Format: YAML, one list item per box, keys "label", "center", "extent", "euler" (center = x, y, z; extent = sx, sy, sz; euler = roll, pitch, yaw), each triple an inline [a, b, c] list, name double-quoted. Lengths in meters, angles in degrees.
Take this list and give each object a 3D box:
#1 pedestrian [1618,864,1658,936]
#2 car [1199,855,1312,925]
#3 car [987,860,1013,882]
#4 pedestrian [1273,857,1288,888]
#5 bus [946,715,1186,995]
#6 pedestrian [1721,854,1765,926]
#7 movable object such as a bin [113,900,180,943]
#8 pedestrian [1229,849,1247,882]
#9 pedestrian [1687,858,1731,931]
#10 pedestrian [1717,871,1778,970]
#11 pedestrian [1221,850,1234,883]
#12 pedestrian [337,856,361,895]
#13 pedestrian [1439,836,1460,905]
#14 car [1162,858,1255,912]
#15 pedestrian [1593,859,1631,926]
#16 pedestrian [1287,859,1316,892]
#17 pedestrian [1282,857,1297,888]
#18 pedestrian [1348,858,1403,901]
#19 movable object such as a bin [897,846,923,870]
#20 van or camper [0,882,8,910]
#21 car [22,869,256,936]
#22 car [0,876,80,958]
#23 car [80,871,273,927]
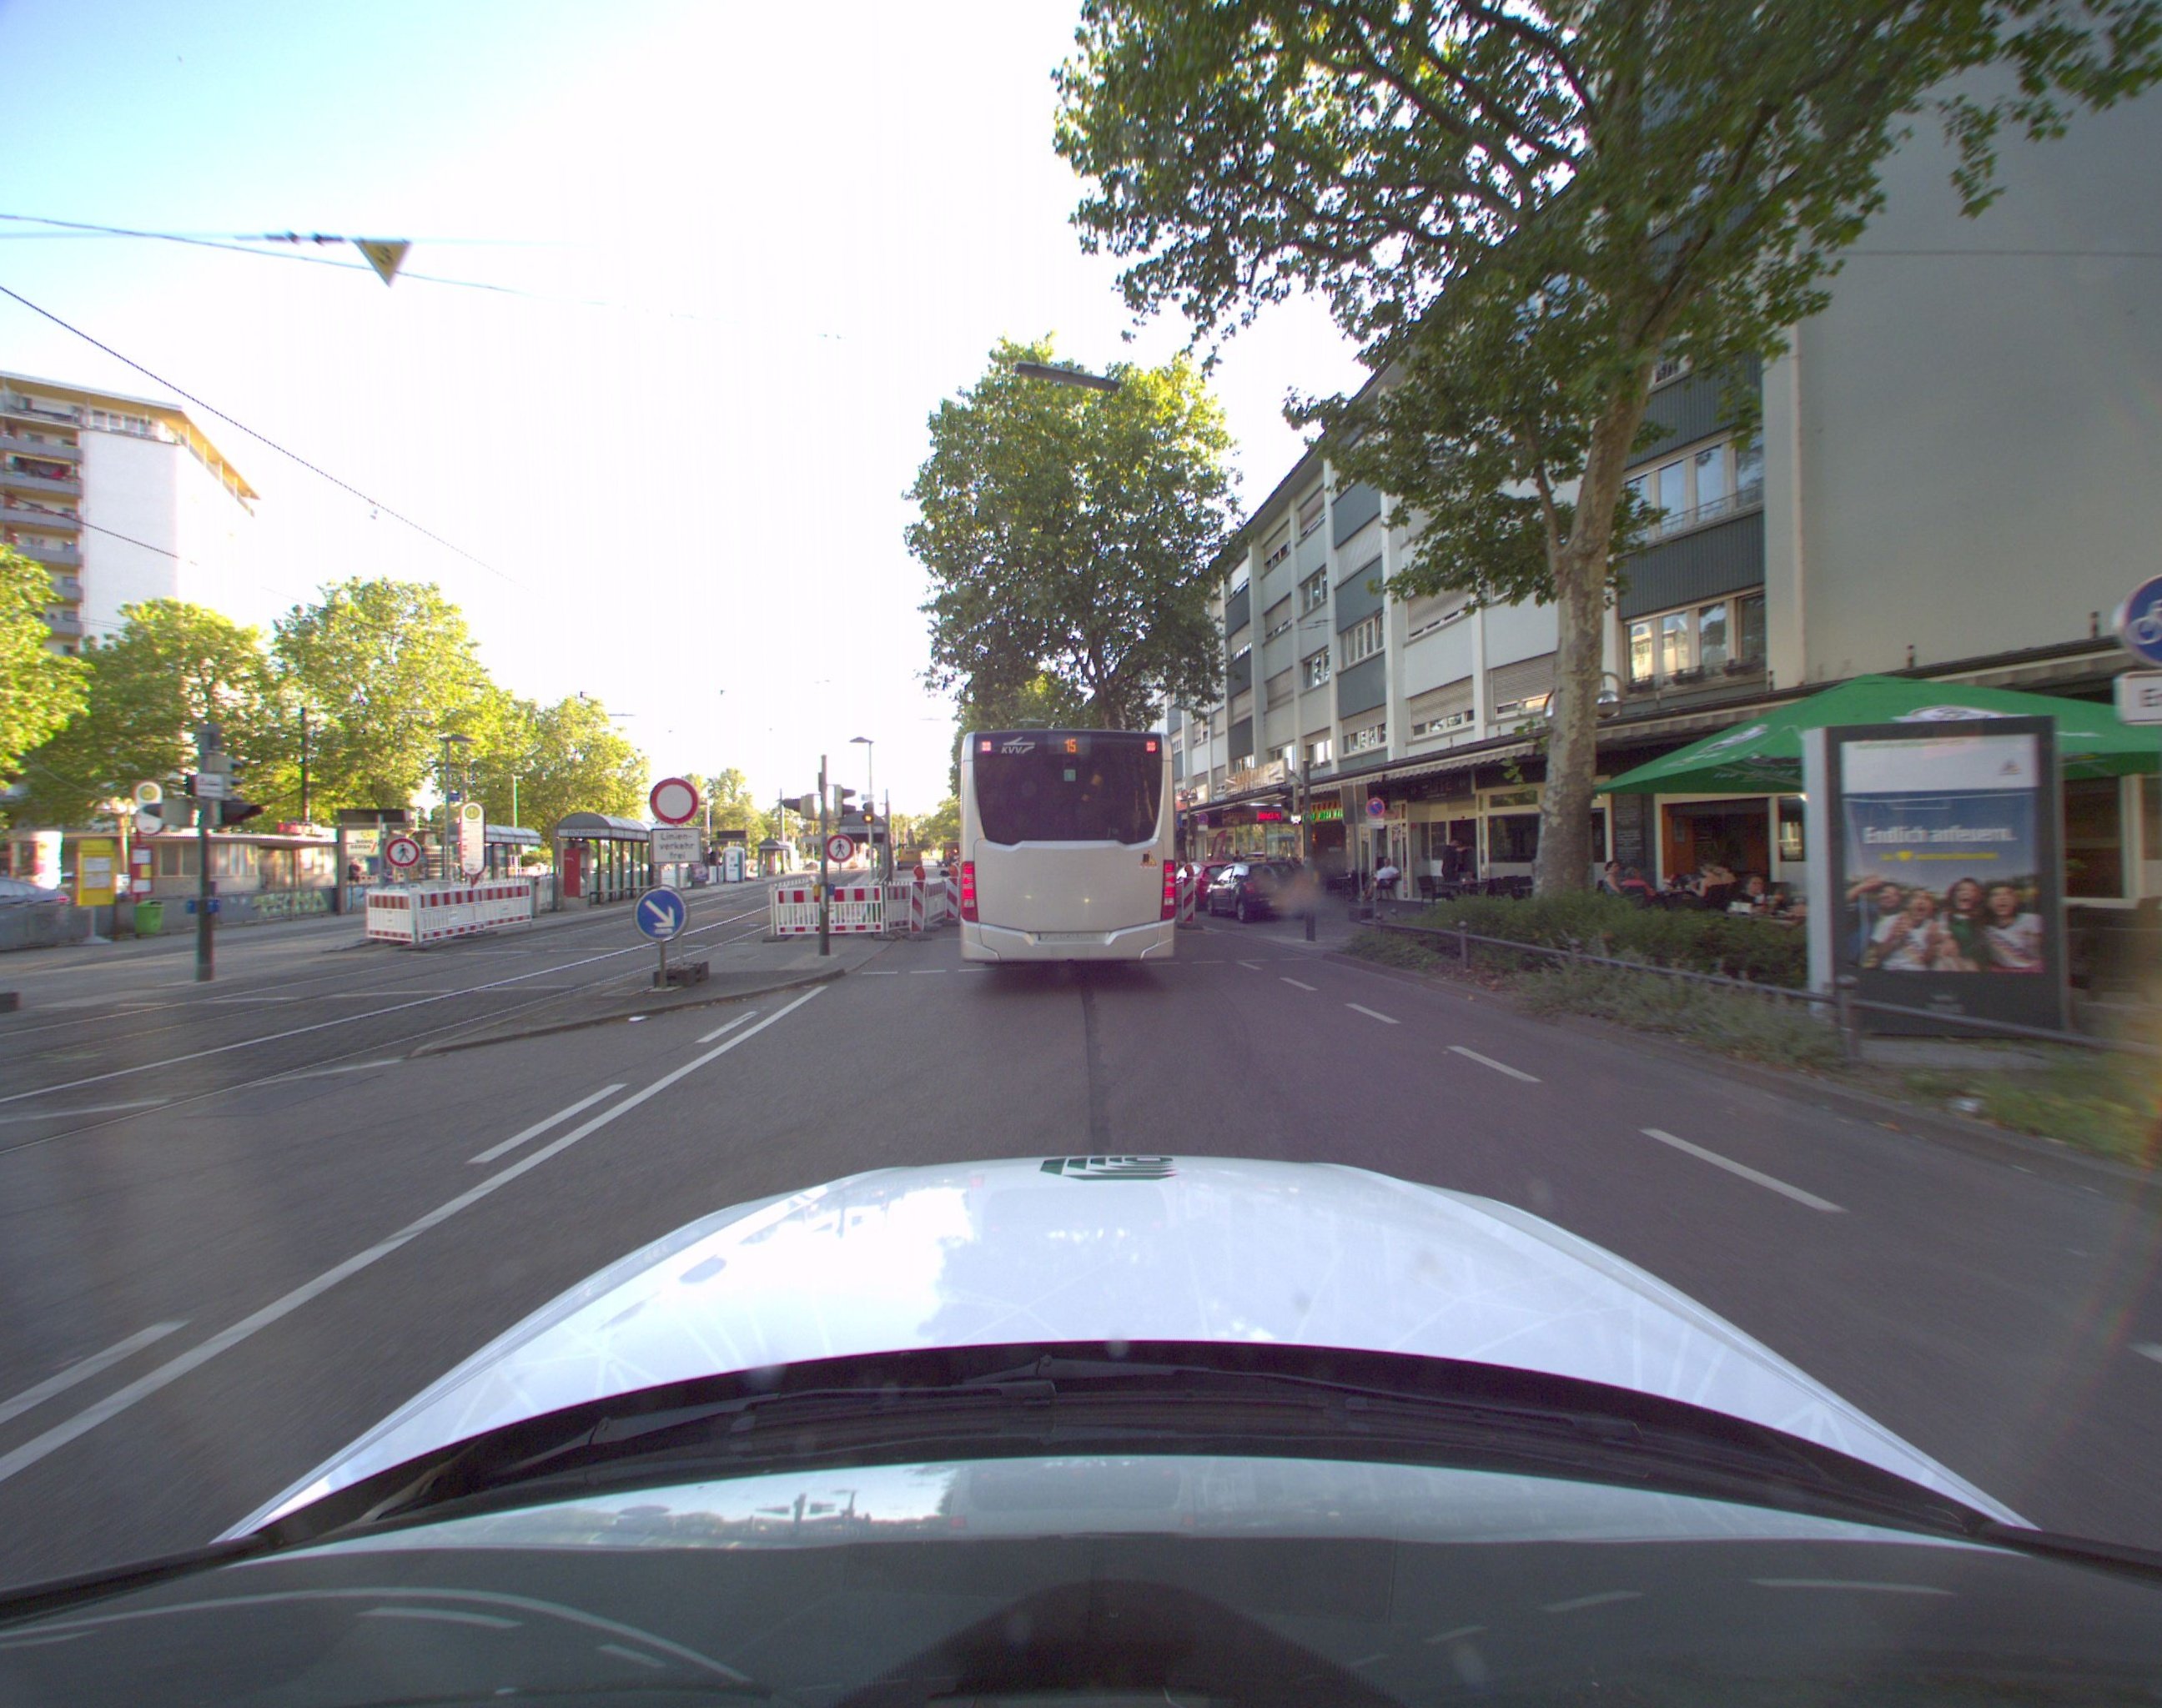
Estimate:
- label: "pedestrian"
  center: [9.870, 0.803, 14.428]
  extent: [0.452, 1.238, 0.396]
  euler: [-1, 0, -27]
- label: "car"
  center: [4.413, 0.855, 21.111]
  extent: [1.662, 1.516, 3.401]
  euler: [-4, 1, -10]
- label: "car"
  center: [-5.750, 1.161, 58.204]
  extent: [1.753, 1.464, 3.993]
  euler: [-1, 0, -5]
- label: "pedestrian"
  center: [7.501, 0.687, 30.660]
  extent: [0.391, 1.174, 0.387]
  euler: [-1, 0, -11]
- label: "bus"
  center: [-0.396, 0.037, 14.227]
  extent: [2.652, 3.099, 10.204]
  euler: [-1, -1, -3]
- label: "pedestrian"
  center: [11.591, 0.615, 14.263]
  extent: [0.396, 1.238, 0.452]
  euler: [-1, 0, 3]
- label: "movable object such as a bin"
  center: [-20.576, 1.479, 17.950]
  extent: [0.671, 0.866, 0.700]
  euler: [1, 0, -11]
- label: "pedestrian"
  center: [6.132, 0.453, 31.813]
  extent: [0.592, 1.256, 0.391]
  euler: [-1, 0, -8]
- label: "pedestrian"
  center: [10.905, 0.690, 14.149]
  extent: [0.396, 1.238, 0.452]
  euler: [-1, 0, 3]
- label: "pedestrian"
  center: [8.591, 0.840, 10.507]
  extent: [0.396, 1.238, 0.452]
  euler: [-1, 0, 4]
- label: "pedestrian"
  center: [5.652, 0.479, 31.406]
  extent: [0.387, 1.256, 0.391]
  euler: [-1, 0, -10]
- label: "pedestrian"
  center: [-38.265, 1.106, 42.569]
  extent: [0.710, 2.013, 0.738]
  euler: [-1, 0, -21]
- label: "pedestrian"
  center: [9.340, 0.410, 20.650]
  extent: [0.356, 1.718, 0.309]
  euler: [1, 0, -2]
- label: "car"
  center: [3.851, 0.898, 25.133]
  extent: [1.663, 1.394, 3.399]
  euler: [-4, 1, -11]
- label: "pedestrian"
  center: [10.095, 0.725, 15.489]
  extent: [0.400, 1.238, 0.448]
  euler: [-1, 0, -25]
- label: "pedestrian"
  center: [7.551, 0.732, 27.876]
  extent: [0.705, 1.108, 0.764]
  euler: [-1, 0, -9]
- label: "pedestrian"
  center: [7.731, 0.668, 30.155]
  extent: [0.387, 1.122, 0.391]
  euler: [-1, 0, -10]
- label: "pedestrian"
  center: [8.529, 0.725, 23.627]
  extent: [1.177, 1.197, 0.923]
  euler: [-1, 0, -9]
- label: "movable object such as a bin"
  center: [-18.103, 0.449, 86.522]
  extent: [2.494, 2.477, 5.336]
  euler: [-1, 0, -11]
- label: "van or camper"
  center: [-61.839, 2.386, 44.406]
  extent: [1.805, 1.552, 4.025]
  euler: [-1, 0, 37]
- label: "car"
  center: [-24.897, 1.208, 21.797]
  extent: [1.887, 1.531, 4.190]
  euler: [-1, 0, -11]
- label: "car"
  center: [-22.097, 1.260, 15.298]
  extent: [1.887, 1.585, 4.190]
  euler: [-1, 0, -11]
- label: "car"
  center: [-28.185, 1.337, 25.608]
  extent: [1.887, 1.531, 4.190]
  euler: [-1, 0, -11]
